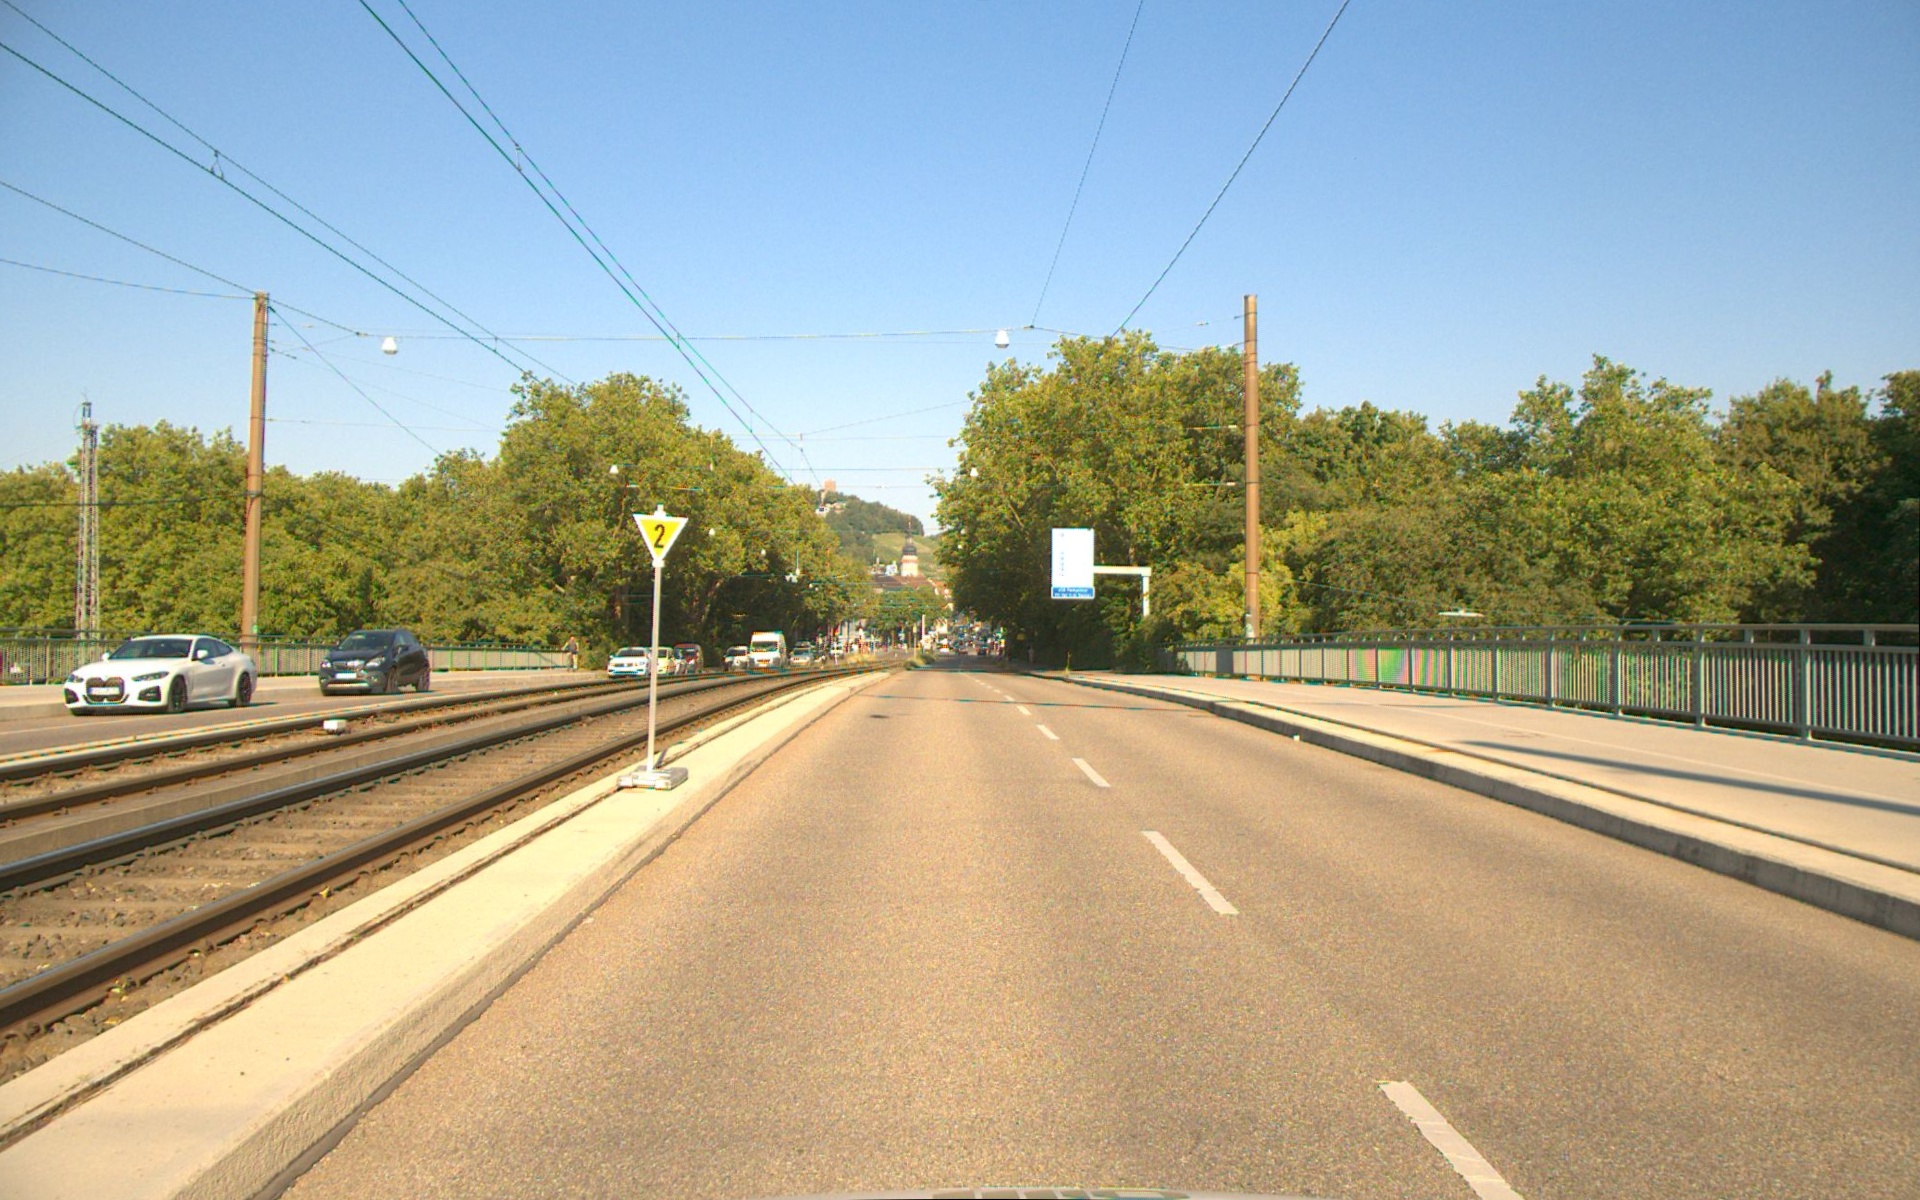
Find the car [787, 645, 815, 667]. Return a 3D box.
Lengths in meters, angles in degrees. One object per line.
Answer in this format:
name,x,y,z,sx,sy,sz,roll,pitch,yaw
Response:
car,-13.640,4.811,142.030,1.835,1.694,4.596,-3,-1,0

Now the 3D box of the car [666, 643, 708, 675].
car,-15.730,3.374,95.467,1.706,1.785,4.682,0,-1,-1

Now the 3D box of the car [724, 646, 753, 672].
car,-16.493,4.366,123.548,1.707,1.774,4.510,-3,-1,-3

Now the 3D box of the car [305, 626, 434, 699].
car,-14.931,1.532,42.042,1.743,1.679,4.446,0,0,-1

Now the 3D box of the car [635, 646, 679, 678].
car,-15.498,3.168,84.715,1.600,1.558,3.789,0,-1,-1

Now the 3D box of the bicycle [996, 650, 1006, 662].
bicycle,4.876,6.661,196.828,0.869,1.344,2.637,0,-2,-3

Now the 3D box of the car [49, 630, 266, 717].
car,-14.584,1.285,30.376,1.650,1.380,4.919,0,0,-1

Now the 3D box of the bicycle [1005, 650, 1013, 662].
bicycle,5.619,6.395,189.325,0.869,1.344,2.639,0,-2,0

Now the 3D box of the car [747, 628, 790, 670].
car,-12.667,3.231,109.776,2.044,2.638,6.039,-2,-2,0

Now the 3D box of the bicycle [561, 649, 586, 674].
bicycle,-18.378,2.912,78.633,0.666,1.117,2.099,2,-2,0

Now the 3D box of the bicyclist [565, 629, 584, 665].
bicyclist,-18.357,2.227,78.737,0.666,1.655,0.889,2,-2,-1

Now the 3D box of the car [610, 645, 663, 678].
car,-15.381,2.906,78.856,1.706,1.490,4.953,0,-1,-2

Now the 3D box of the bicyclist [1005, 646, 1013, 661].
bicyclist,5.619,6.136,189.287,0.869,1.667,1.164,0,-2,0

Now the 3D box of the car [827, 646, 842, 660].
car,-17.323,7.265,228.066,1.954,1.877,5.297,1,-1,-3

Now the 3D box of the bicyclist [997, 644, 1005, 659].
bicyclist,4.883,6.089,196.854,0.869,1.806,1.221,0,-2,-3
